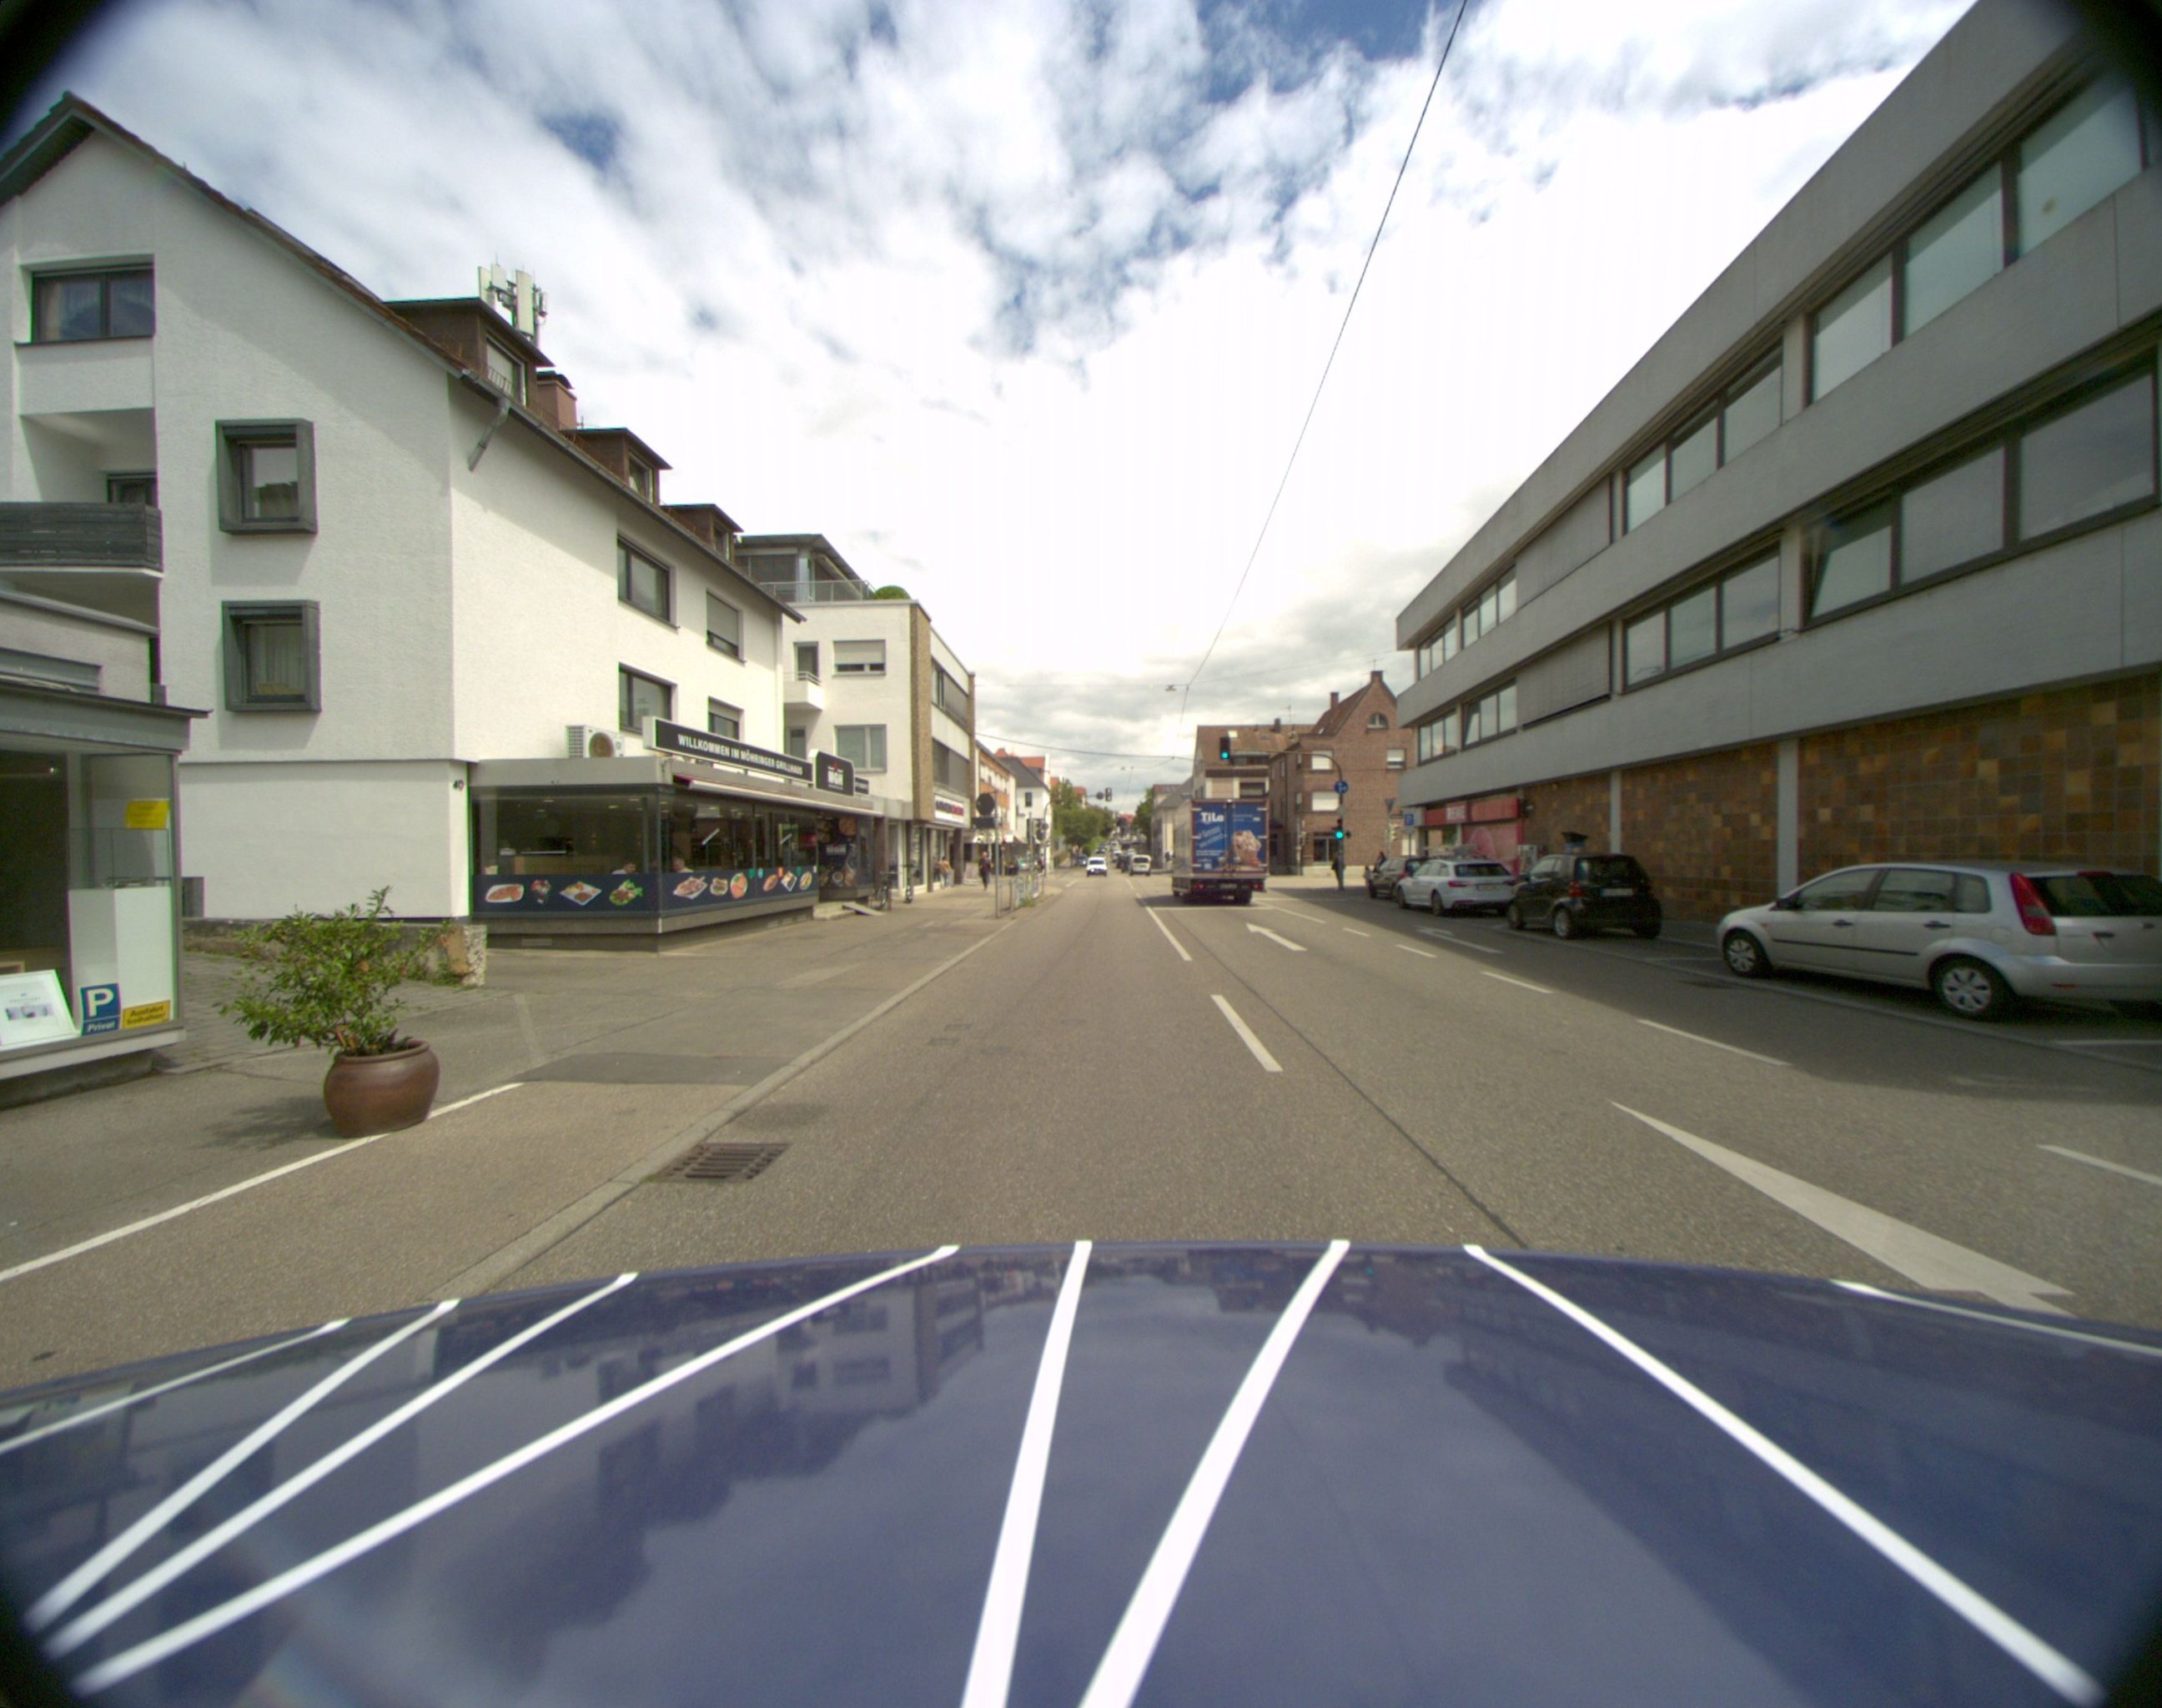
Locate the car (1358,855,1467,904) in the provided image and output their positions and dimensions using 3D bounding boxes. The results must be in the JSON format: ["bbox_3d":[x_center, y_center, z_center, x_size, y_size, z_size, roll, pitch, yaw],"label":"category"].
[{"bbox_3d":[11.036,0.805,25.667,2.049,1.467,4.286,-2,0,4],"label":"car"}]

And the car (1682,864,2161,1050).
[{"bbox_3d":[8.906,0.865,8.198,1.726,1.413,4.149,-2,0,3],"label":"car"}]

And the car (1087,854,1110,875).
[{"bbox_3d":[1.540,0.912,69.335,1.999,1.797,4.765,-2,0,0],"label":"car"}]

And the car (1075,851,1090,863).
[{"bbox_3d":[0.297,0.461,109.267,1.998,1.654,4.000,0,0,2],"label":"car"}]

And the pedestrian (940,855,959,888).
[{"bbox_3d":[-6.006,0.804,34.753,0.681,1.490,0.720,0,1,2],"label":"pedestrian"}]

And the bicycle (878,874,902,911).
[{"bbox_3d":[-5.729,1.143,22.830,0.476,1.022,1.635,0,0,-7],"label":"bicycle"}]

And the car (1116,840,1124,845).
[{"bbox_3d":[10.422,-3.109,203.623,1.858,1.414,4.193,0,0,0],"label":"car"}]

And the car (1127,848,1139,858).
[{"bbox_3d":[9.431,-0.183,138.129,2.110,1.778,4.530,-1,0,2],"label":"car"}]

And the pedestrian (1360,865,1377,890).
[{"bbox_3d":[12.525,1.020,33.126,0.560,1.051,0.663,-2,0,8],"label":"pedestrian"}]

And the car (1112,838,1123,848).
[{"bbox_3d":[7.812,-2.353,163.270,1.981,1.985,5.028,0,0,0],"label":"car"}]

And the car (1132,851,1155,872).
[{"bbox_3d":[5.666,0.679,69.233,1.950,1.810,4.279,0,0,2],"label":"car"}]

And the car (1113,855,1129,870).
[{"bbox_3d":[5.400,1.146,103.504,1.953,1.866,4.876,0,1,1],"label":"car"}]

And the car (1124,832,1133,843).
[{"bbox_3d":[15.139,-5.221,241.215,2.428,3.409,7.637,0,0,0],"label":"car"}]

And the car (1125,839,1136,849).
[{"bbox_3d":[11.102,-2.305,170.538,2.110,2.109,4.766,-1,0,2],"label":"car"}]

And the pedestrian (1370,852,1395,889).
[{"bbox_3d":[13.072,0.720,32.954,0.820,1.545,0.846,-2,0,8],"label":"pedestrian"}]

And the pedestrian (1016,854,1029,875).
[{"bbox_3d":[-4.257,0.744,55.382,0.779,1.517,0.819,0,1,5],"label":"pedestrian"}]

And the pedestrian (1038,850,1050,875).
[{"bbox_3d":[-2.726,0.631,56.194,0.581,1.820,0.882,1,1,18],"label":"pedestrian"}]

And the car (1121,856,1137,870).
[{"bbox_3d":[5.449,1.005,86.611,1.681,1.626,2.833,0,0,1],"label":"car"}]

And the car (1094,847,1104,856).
[{"bbox_3d":[3.659,-0.531,152.044,1.998,1.654,4.000,0,0,2],"label":"car"}]

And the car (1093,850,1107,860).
[{"bbox_3d":[2.985,0.142,119.083,1.998,1.654,4.000,0,0,2],"label":"car"}]

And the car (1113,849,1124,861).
[{"bbox_3d":[6.066,0.139,123.383,1.819,1.919,4.113,0,0,2],"label":"car"}]

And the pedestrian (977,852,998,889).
[{"bbox_3d":[-4.186,0.724,34.100,0.796,1.661,0.807,0,1,2],"label":"pedestrian"}]

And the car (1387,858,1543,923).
[{"bbox_3d":[9.972,0.883,20.270,2.048,1.436,4.954,-2,0,6],"label":"car"}]

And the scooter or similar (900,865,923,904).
[{"bbox_3d":[-5.685,1.011,25.546,0.690,1.260,1.184,0,1,-10],"label":"scooter or similar"}]

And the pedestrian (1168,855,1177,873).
[{"bbox_3d":[8.641,0.894,71.535,0.778,1.685,0.796,0,1,8],"label":"pedestrian"}]

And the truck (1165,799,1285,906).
[{"bbox_3d":[4.623,-0.064,26.023,2.860,3.075,8.090,0,0,2],"label":"truck"}]

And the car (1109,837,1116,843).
[{"bbox_3d":[8.940,-3.994,214.536,2.149,1.747,3.974,0,0,2],"label":"car"}]

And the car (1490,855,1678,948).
[{"bbox_3d":[9.415,0.827,14.523,1.740,1.547,3.057,-2,0,6],"label":"car"}]

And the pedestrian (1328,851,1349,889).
[{"bbox_3d":[11.196,0.692,33.079,0.719,1.635,0.682,-2,0,7],"label":"pedestrian"}]

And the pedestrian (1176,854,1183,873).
[{"bbox_3d":[9.252,0.897,71.475,0.683,1.706,0.878,0,1,8],"label":"pedestrian"}]
